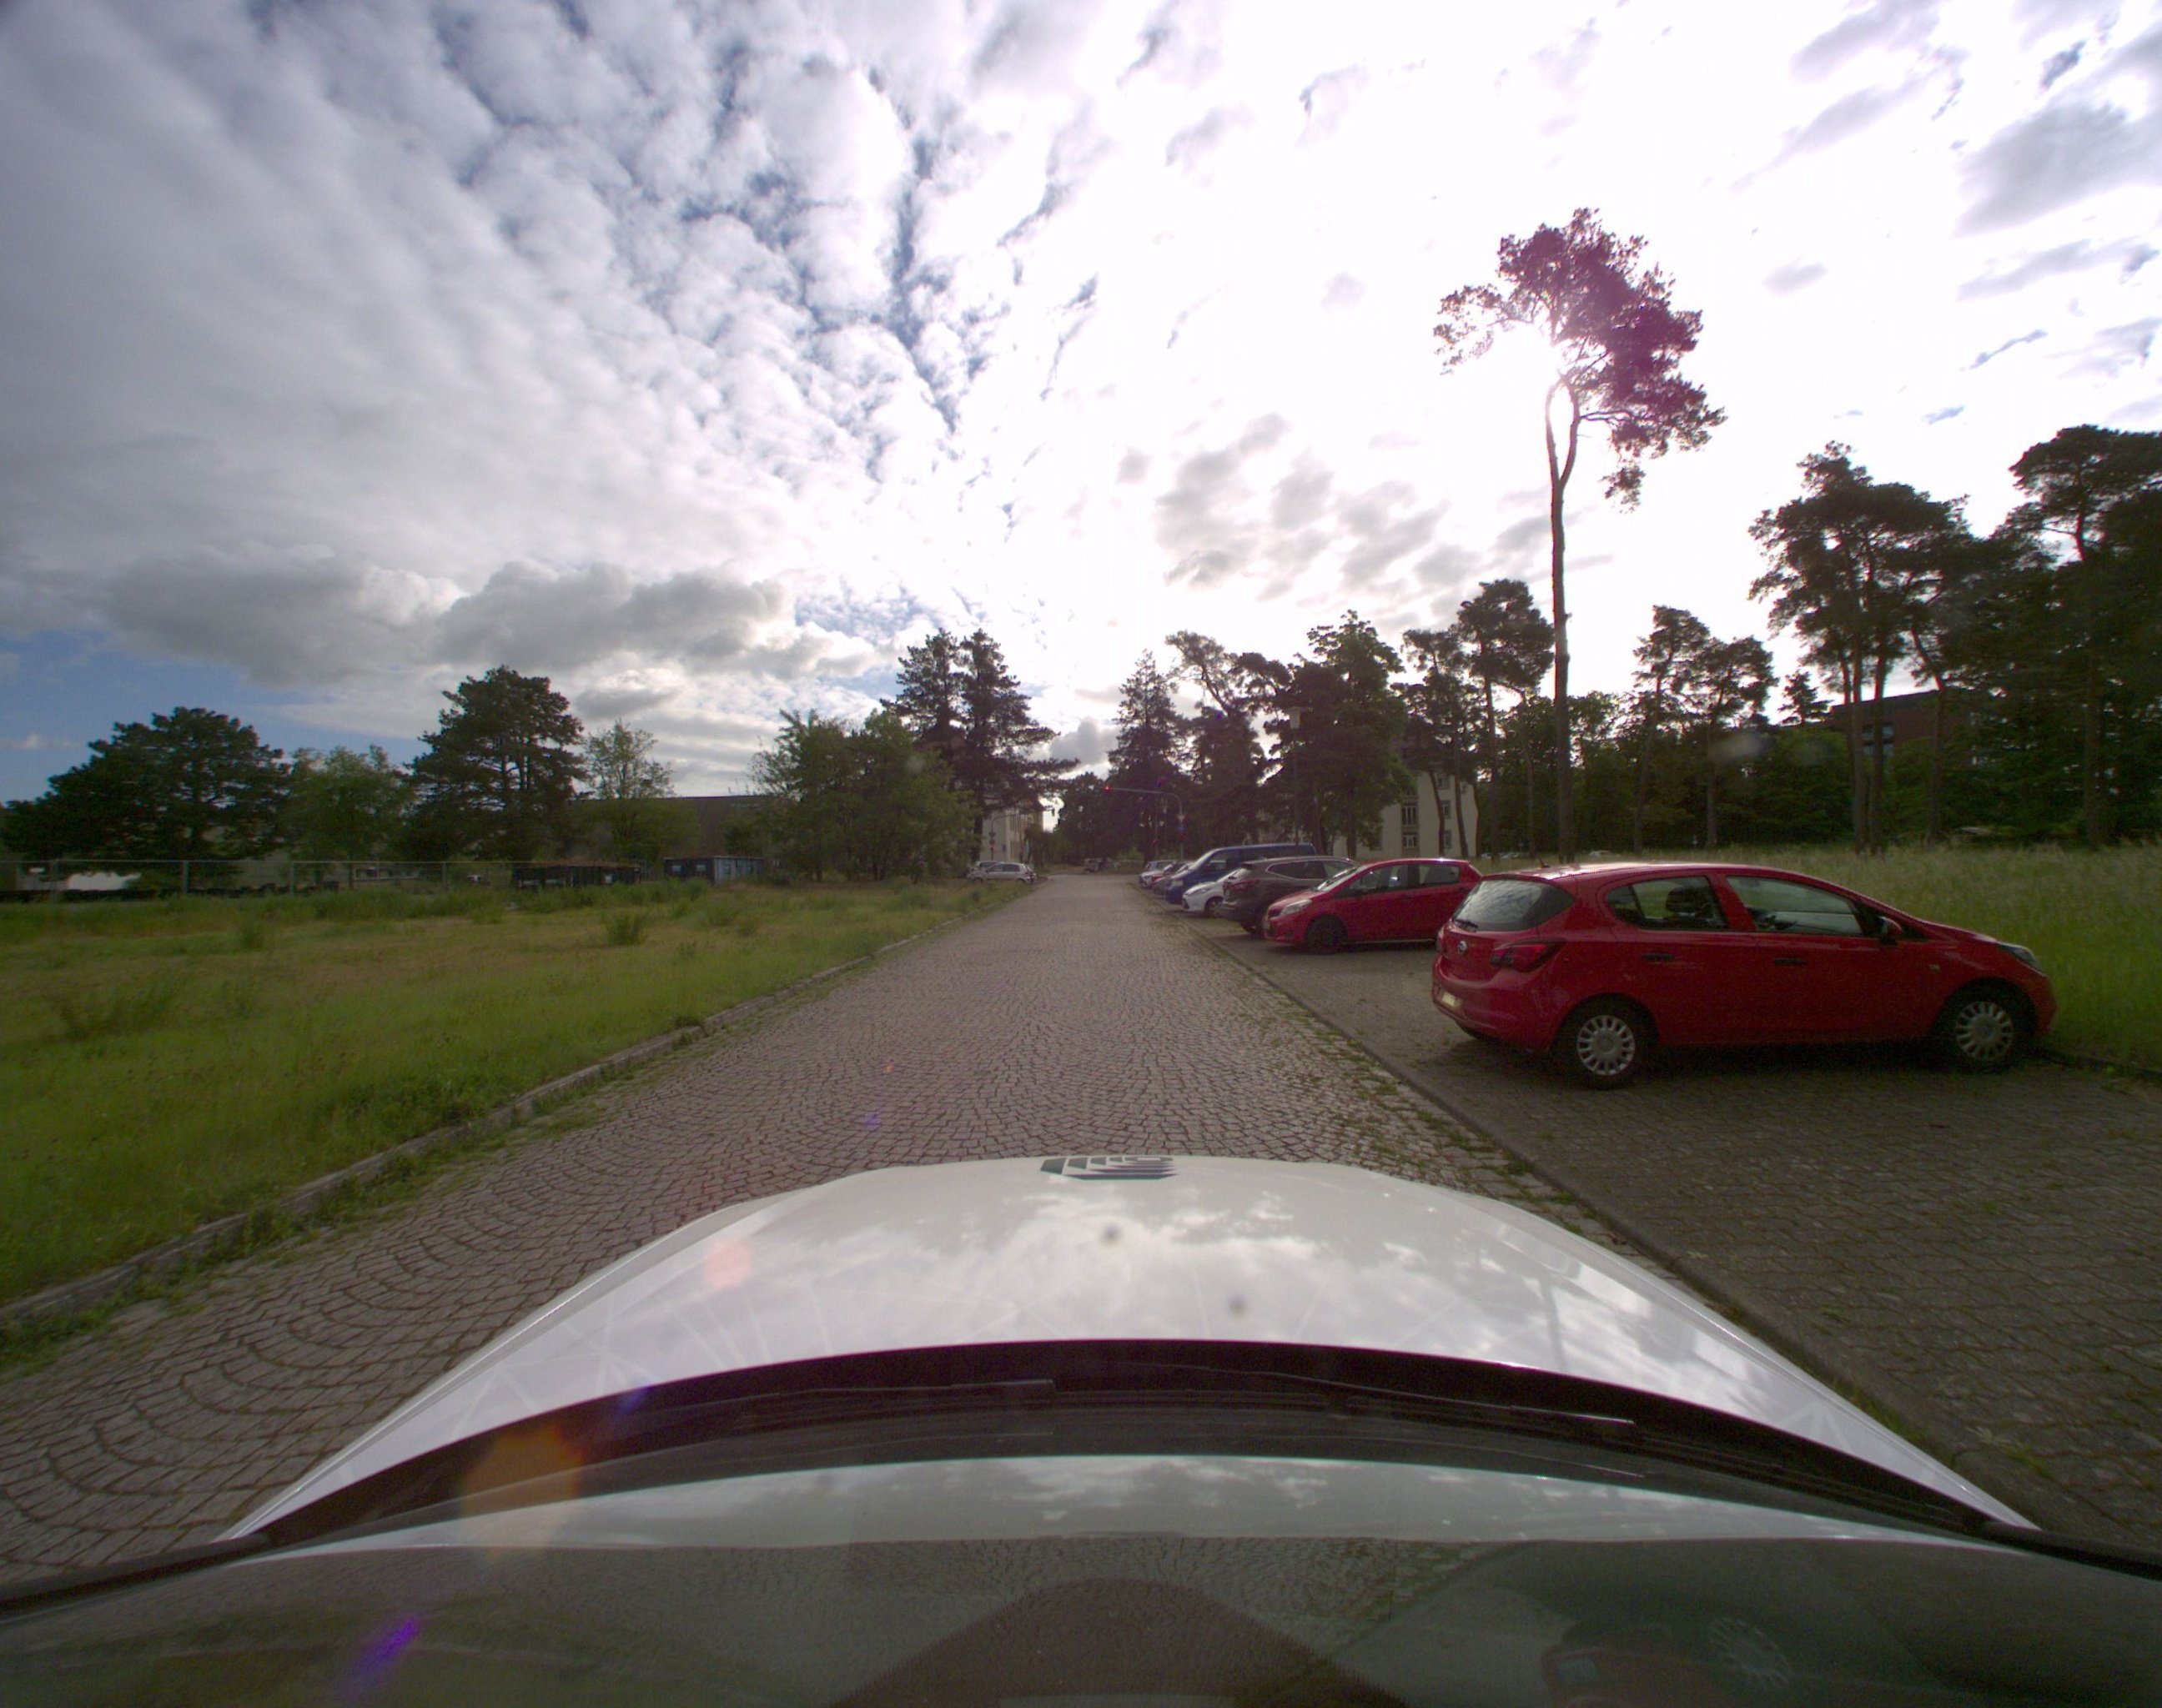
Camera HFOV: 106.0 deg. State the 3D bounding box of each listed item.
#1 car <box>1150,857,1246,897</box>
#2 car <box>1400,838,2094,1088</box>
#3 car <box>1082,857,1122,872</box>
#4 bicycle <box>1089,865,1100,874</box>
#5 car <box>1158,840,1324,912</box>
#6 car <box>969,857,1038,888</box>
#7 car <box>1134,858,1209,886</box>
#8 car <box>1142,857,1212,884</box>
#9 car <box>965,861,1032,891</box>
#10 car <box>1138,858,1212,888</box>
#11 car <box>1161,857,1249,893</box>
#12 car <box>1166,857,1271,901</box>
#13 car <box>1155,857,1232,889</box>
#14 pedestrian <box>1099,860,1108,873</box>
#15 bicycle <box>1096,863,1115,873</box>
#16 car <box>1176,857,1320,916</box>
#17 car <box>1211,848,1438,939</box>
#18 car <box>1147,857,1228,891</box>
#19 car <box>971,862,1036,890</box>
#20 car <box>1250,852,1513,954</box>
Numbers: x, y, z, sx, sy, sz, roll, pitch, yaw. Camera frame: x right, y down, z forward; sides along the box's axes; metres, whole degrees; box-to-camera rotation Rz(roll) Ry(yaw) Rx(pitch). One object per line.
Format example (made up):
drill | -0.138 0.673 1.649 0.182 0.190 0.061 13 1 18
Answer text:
car | 4.764 0.933 33.502 3.661 1.449 1.523 -3 -1 -1
car | 4.720 0.723 6.233 3.813 1.460 1.779 -3 -1 0
car | 3.031 1.465 116.096 5.443 2.014 2.262 0 -1 -9
bicycle | 1.579 1.781 94.118 0.623 0.945 1.648 0 -1 -27
car | 4.902 0.659 25.446 4.741 1.954 1.930 -3 -1 -1
car | -5.066 1.219 53.637 4.248 1.840 1.743 -3 -1 0
car | 5.148 1.021 46.588 3.960 1.421 1.618 -2 -1 -4
car | 5.763 1.014 49.235 3.960 1.421 1.618 -2 -1 -4
car | -4.853 1.285 48.230 3.812 1.572 1.563 -3 -1 -3
car | 5.012 0.991 43.733 3.664 1.421 1.522 -2 -1 -4
car | 5.515 0.929 36.486 3.661 1.449 1.523 -3 -1 -1
car | 5.138 0.930 30.720 3.661 1.449 1.523 -3 -1 -1
car | 5.712 0.955 41.476 3.661 1.449 1.523 -3 -1 -1
pedestrian | 2.755 1.510 98.527 1.031 1.614 0.756 0 -1 -4
bicycle | 2.951 1.709 98.180 2.132 1.215 0.621 0 -1 -4
car | 4.618 0.893 22.852 3.662 1.449 1.613 -3 -1 -2
car | 4.806 0.761 16.475 4.018 1.552 1.750 -3 -1 -2
car | 5.084 0.942 39.195 3.661 1.449 1.523 -3 -1 -1
car | -4.767 1.345 50.646 3.809 1.572 1.564 -3 -1 0
car | 4.961 0.792 13.822 3.779 1.460 1.751 -3 -1 0
